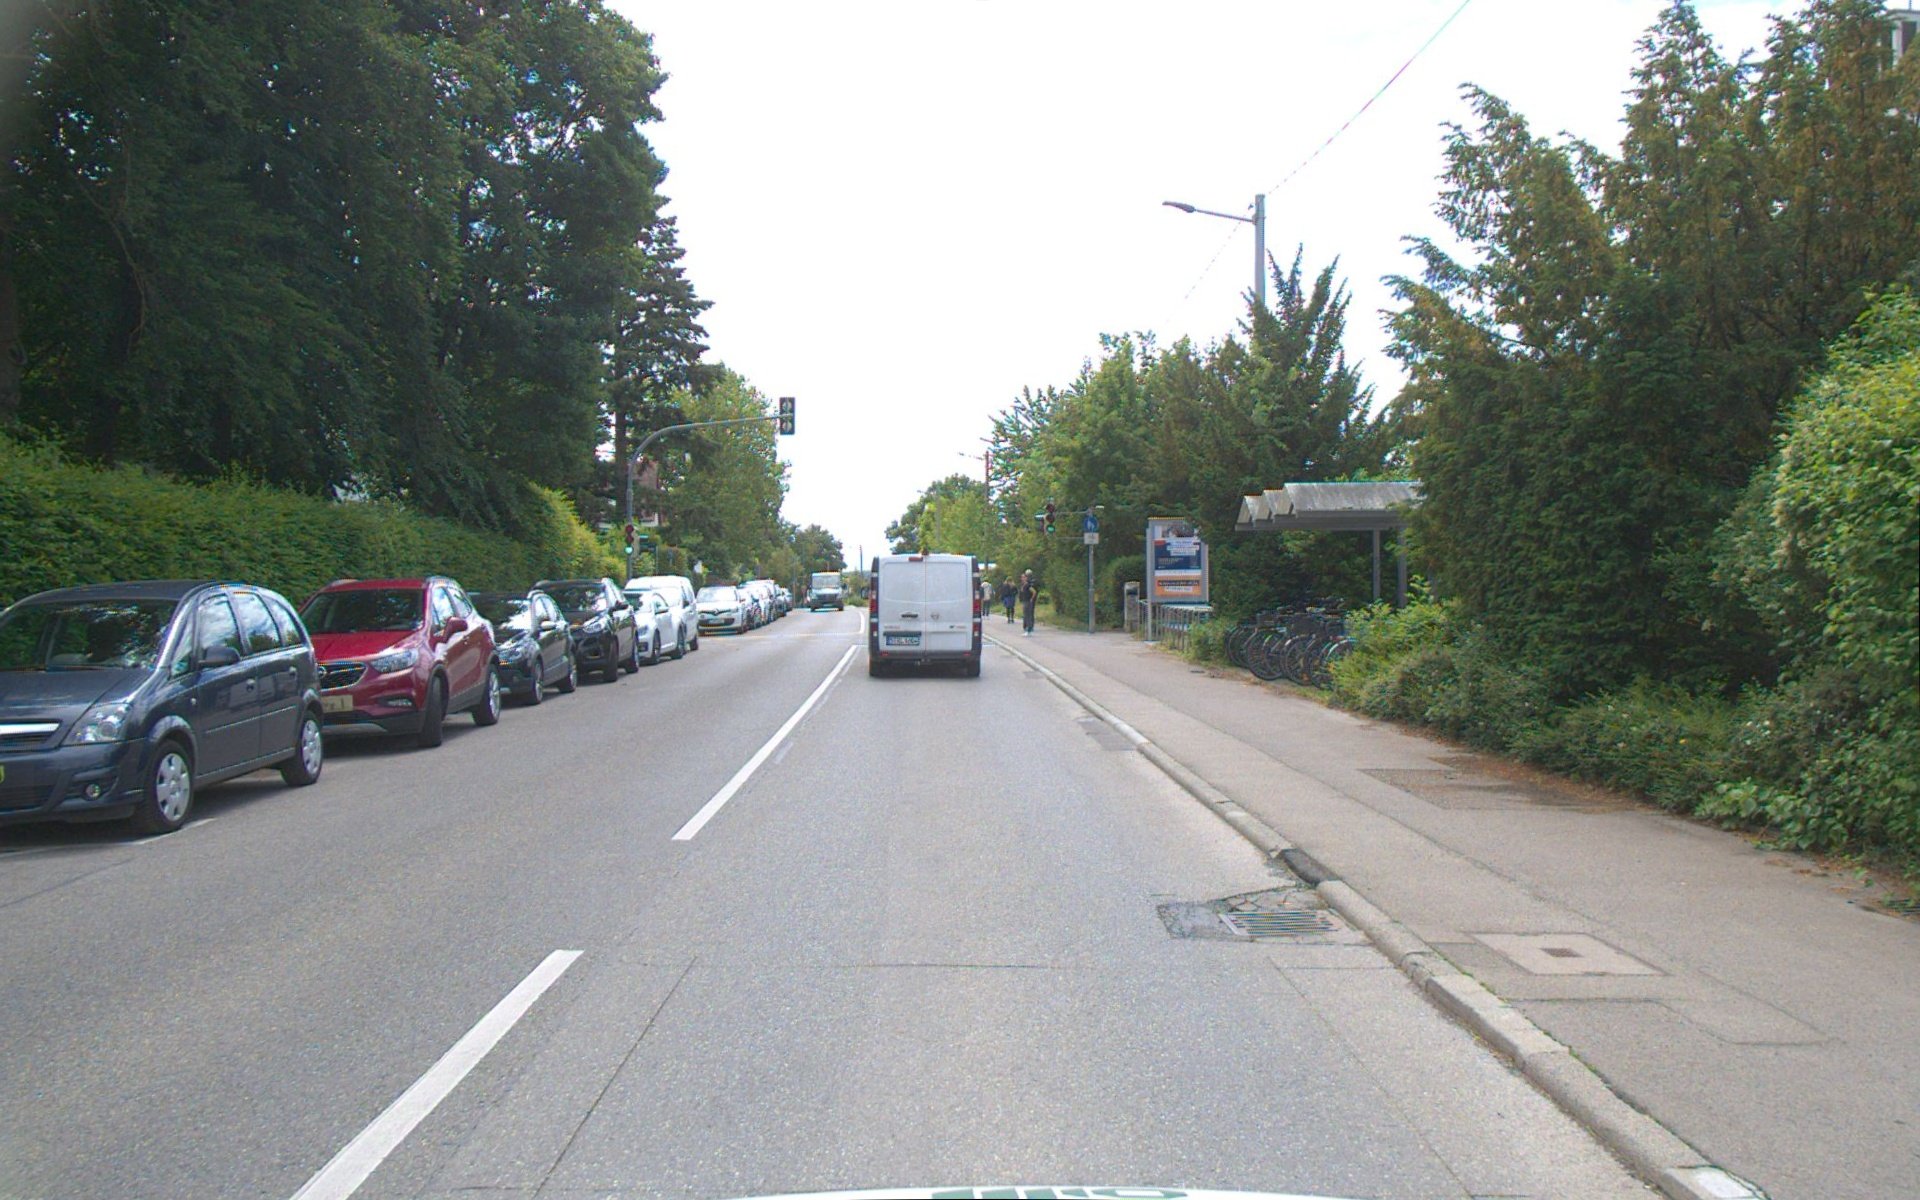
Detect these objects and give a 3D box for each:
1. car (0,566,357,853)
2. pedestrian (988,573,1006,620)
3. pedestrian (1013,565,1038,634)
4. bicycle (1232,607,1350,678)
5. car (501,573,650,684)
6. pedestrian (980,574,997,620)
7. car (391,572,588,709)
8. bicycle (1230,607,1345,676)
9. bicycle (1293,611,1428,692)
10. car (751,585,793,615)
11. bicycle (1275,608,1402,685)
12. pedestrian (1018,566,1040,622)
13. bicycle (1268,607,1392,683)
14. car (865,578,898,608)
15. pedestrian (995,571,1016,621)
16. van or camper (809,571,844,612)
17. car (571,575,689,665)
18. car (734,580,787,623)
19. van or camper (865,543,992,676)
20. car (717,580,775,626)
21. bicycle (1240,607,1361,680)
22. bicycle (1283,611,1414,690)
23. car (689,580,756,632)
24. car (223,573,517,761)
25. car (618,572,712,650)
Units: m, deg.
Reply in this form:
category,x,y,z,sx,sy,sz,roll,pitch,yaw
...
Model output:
category,x,y,z,sx,sy,sz,roll,pitch,yaw
car,-5.830,0.624,11.691,1.726,1.654,4.184,-1,1,-3
pedestrian,1.481,-0.129,66.277,0.688,1.883,0.666,0,0,1
pedestrian,1.797,-0.020,45.556,0.666,1.873,0.646,0,0,5
bicycle,4.958,0.627,24.792,1.664,1.048,0.491,0,0,-3
car,-6.378,0.425,27.810,1.726,1.685,3.813,-1,1,-3
pedestrian,1.176,-0.129,67.689,0.688,1.883,0.666,0,0,-1
car,-6.342,0.484,22.699,1.726,1.685,3.813,-1,1,-3
bicycle,5.016,0.629,25.345,1.664,1.048,0.491,0,0,-3
bicycle,5.294,0.669,21.902,1.664,1.048,0.491,0,0,-3
car,-9.461,-0.024,83.572,1.744,1.449,3.999,0,1,-1
bicycle,5.265,0.634,23.032,1.664,1.048,0.491,0,0,-3
pedestrian,2.128,-0.182,50.726,0.660,1.726,0.522,0,1,3
bicycle,5.270,0.636,23.596,1.664,1.048,0.491,0,0,-3
car,-4.411,-0.405,93.902,1.744,1.698,3.999,0,1,-1
pedestrian,1.682,-0.162,60.857,0.638,1.838,0.564,0,0,-13
van or camper,-7.979,-0.526,99.154,1.965,2.301,4.609,-1,1,-4
car,-6.601,0.356,33.409,1.726,1.685,3.813,-1,1,-3
car,-8.210,0.032,68.302,1.744,1.698,3.999,0,1,-1
van or camper,-0.531,0.147,28.100,1.953,2.049,4.445,1,0,-1
car,-8.096,0.077,62.767,1.744,1.698,3.999,0,1,-1
bicycle,4.991,0.631,24.277,1.664,1.048,0.491,0,0,-3
bicycle,5.270,0.676,22.457,1.664,1.048,0.491,0,0,-3
car,-7.703,0.162,53.915,1.726,1.584,3.813,-1,1,-3
car,-5.968,0.590,17.252,1.726,1.685,4.059,-1,1,-3
car,-7.145,0.232,40.330,1.726,1.787,3.813,-1,1,-3
